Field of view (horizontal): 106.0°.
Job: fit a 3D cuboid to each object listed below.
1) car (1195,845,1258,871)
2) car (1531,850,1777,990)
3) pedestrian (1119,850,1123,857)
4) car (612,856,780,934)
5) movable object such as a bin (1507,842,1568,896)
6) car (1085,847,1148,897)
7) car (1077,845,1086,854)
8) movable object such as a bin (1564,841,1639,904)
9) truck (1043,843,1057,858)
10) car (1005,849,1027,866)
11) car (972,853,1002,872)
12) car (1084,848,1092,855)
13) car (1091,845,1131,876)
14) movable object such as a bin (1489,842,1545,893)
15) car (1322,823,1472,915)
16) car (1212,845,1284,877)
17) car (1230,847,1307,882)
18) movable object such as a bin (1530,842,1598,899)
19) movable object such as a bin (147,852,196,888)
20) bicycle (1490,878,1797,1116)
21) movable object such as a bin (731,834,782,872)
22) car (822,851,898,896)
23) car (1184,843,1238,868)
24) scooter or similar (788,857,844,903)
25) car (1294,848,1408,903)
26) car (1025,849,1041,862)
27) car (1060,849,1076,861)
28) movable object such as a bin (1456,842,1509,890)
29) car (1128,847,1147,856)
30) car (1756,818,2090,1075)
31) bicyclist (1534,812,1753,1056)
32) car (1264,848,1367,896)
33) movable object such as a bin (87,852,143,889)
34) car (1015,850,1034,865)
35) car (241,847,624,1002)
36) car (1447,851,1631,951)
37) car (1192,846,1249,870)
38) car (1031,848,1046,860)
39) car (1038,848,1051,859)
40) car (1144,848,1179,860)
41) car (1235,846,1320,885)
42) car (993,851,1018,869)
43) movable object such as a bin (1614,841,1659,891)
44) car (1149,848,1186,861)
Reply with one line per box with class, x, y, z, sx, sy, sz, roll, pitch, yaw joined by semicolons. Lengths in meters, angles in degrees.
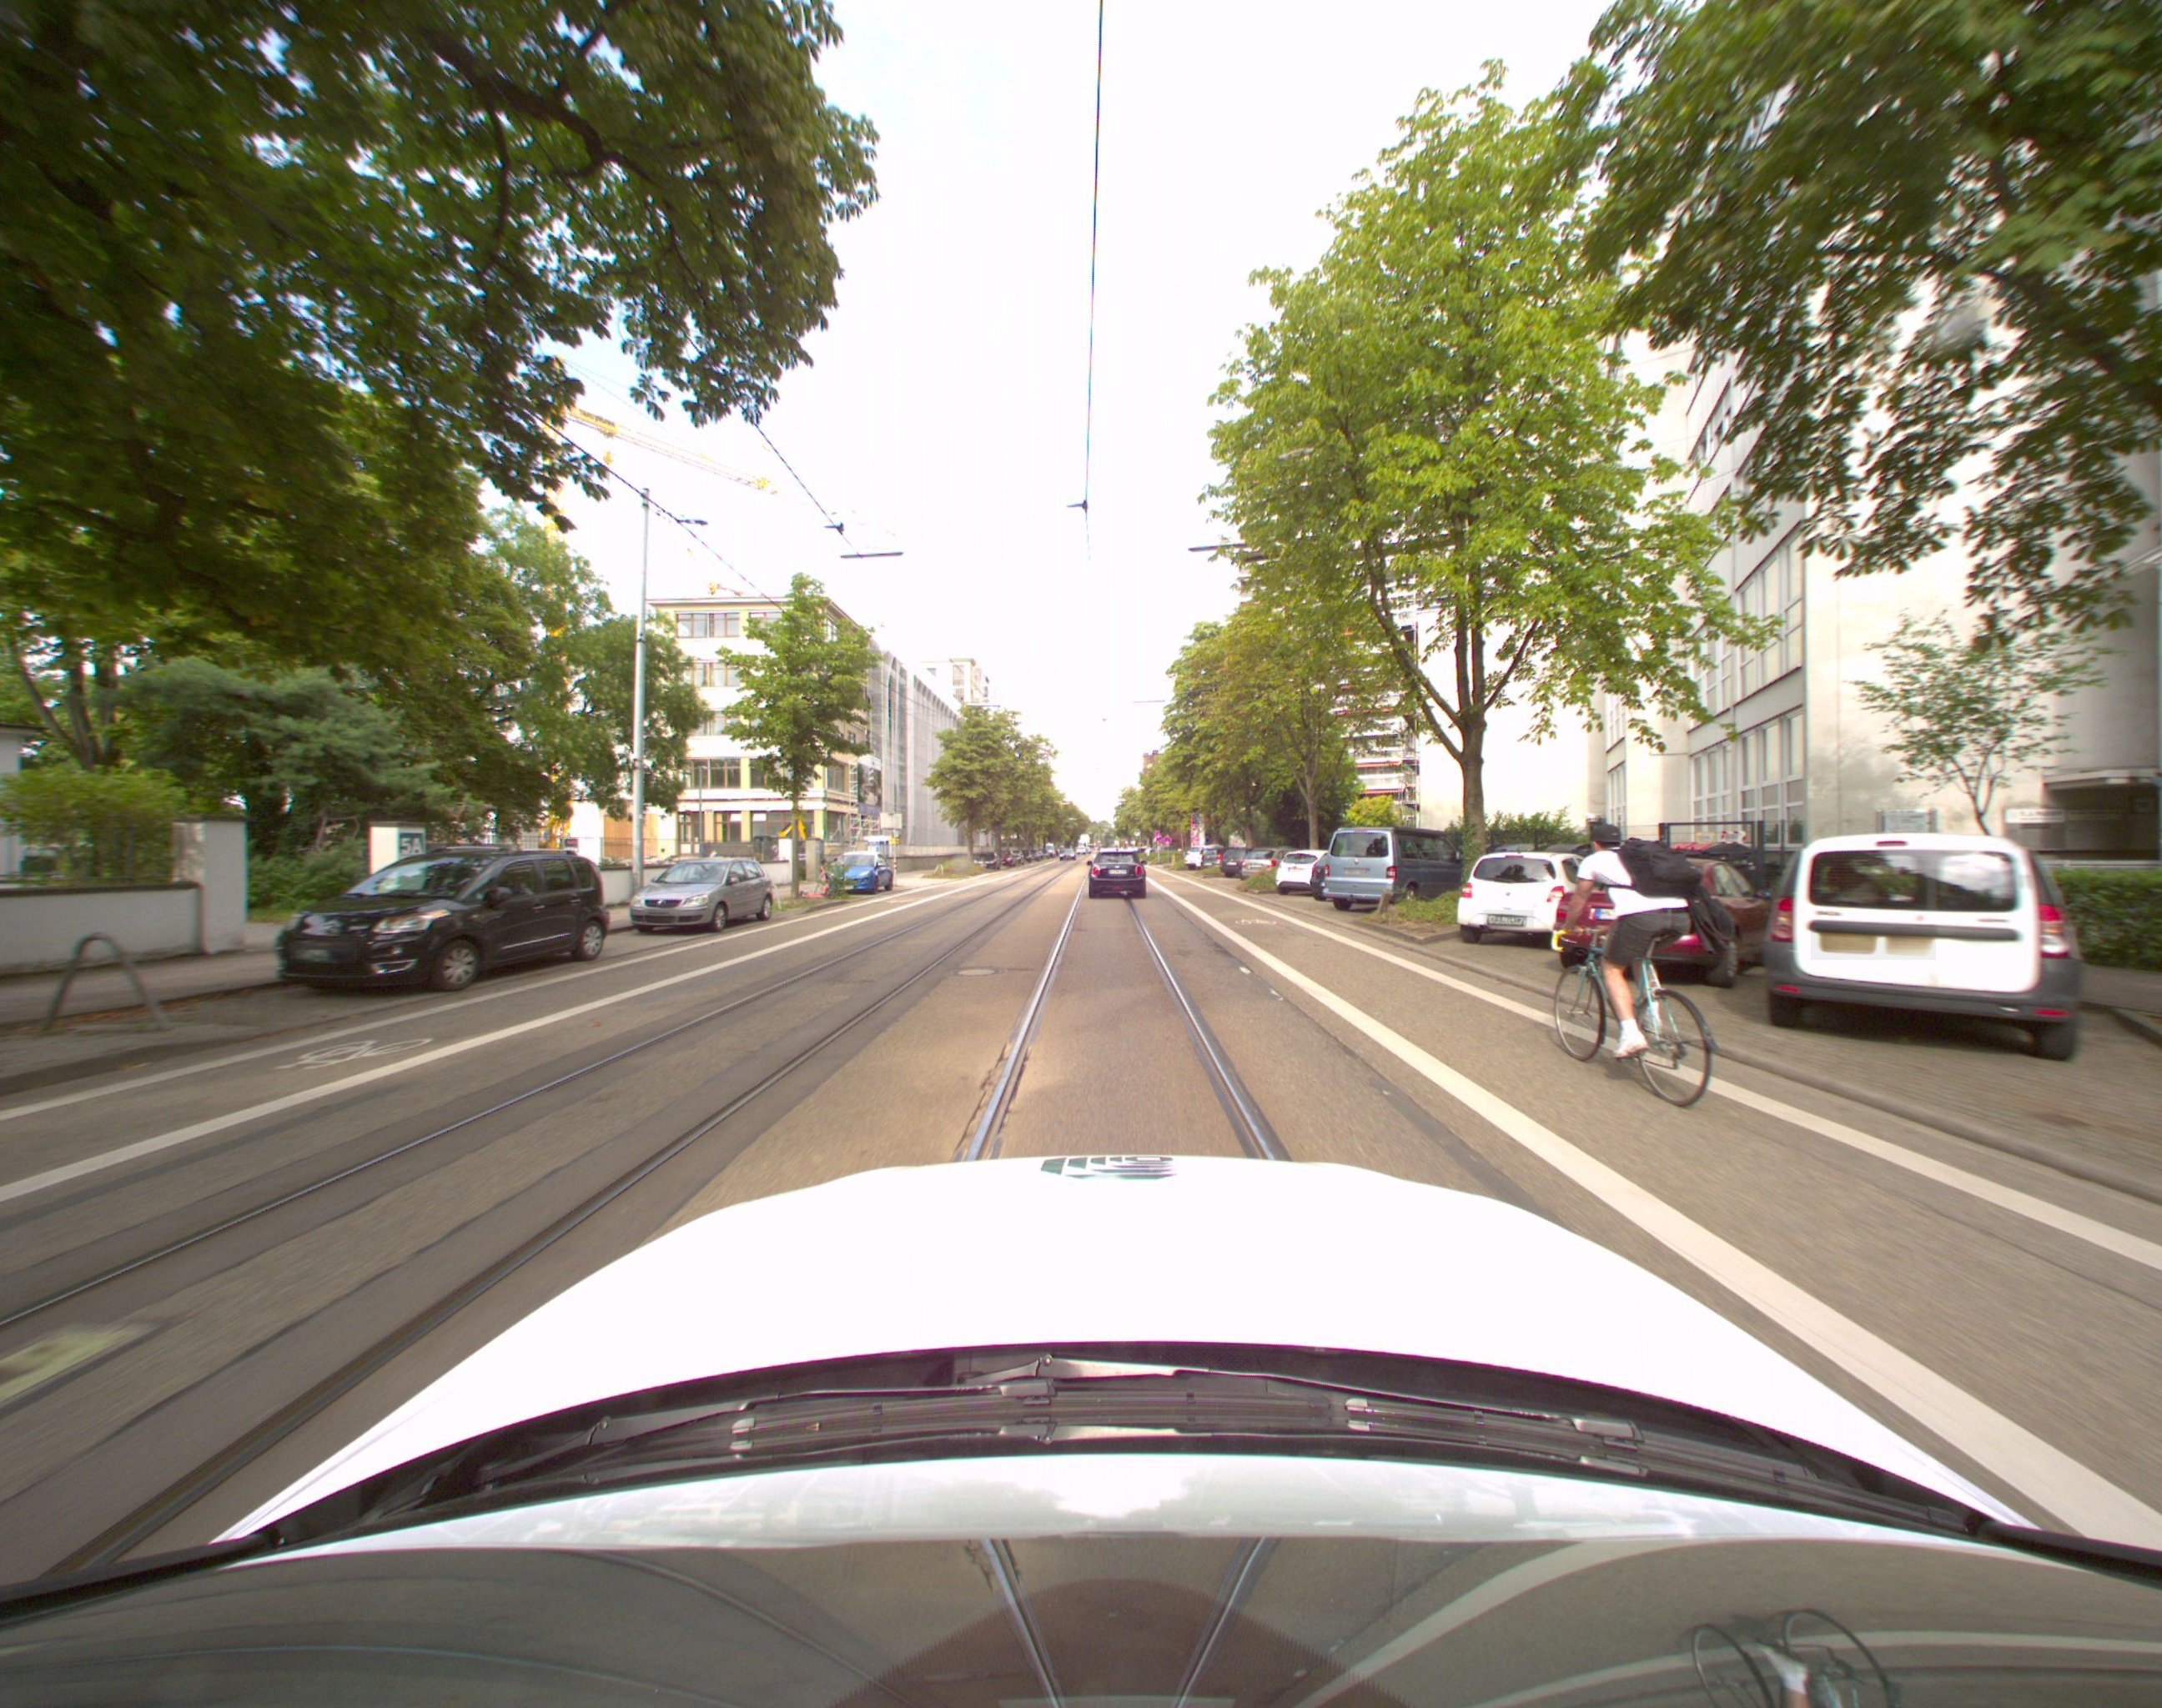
car;8.391;0.195;46.882;3.552;1.442;1.605;-1;0;-38
car;7.355;0.677;10.304;3.997;1.432;1.669;0;0;-42
pedestrian;9.647;-0.218;197.513;0.721;1.646;0.769;0;0;11
car;-7.991;0.788;17.329;1.687;1.427;3.868;0;0;0
movable object such as a bin;13.034;0.412;23.298;1.065;1.508;1.214;0;0;2
car;1.034;0.509;25.292;1.787;1.423;4.000;0;0;1
car;0.106;-1.038;174.966;1.796;1.823;4.485;-2;0;1
movable object such as a bin;12.992;0.441;20.369;1.065;1.508;1.324;0;0;2
truck;-5.228;-0.594;136.901;2.064;2.470;4.899;-2;0;1
car;-6.581;0.345;82.462;1.796;1.583;4.031;-2;0;1
car;-7.237;0.632;63.200;1.796;1.374;4.031;-2;0;1
car;1.703;-0.662;194.228;1.796;1.622;4.485;-2;0;1
car;1.506;0.315;42.031;1.789;1.470;3.997;1;0;-2
movable object such as a bin;13.235;0.399;24.743;1.065;1.508;1.214;0;0;2
car;7.814;0.321;19.959;4.300;2.015;1.809;0;0;-44
car;8.225;0.326;40.014;3.761;1.458;1.620;0;0;-44
car;8.612;0.434;37.249;3.761;1.522;1.620;0;0;-44
movable object such as a bin;13.032;0.425;22.008;1.065;1.508;1.324;0;0;2
movable object such as a bin;-36.159;0.623;32.377;0.850;1.374;1.100;1;0;27
bicycle;3.693;0.834;5.633;0.655;1.249;2.124;0;0;0
movable object such as a bin;-18.463;-0.066;46.401;1.978;2.067;1.962;0;0;3
car;-7.874;0.643;29.347;1.687;1.487;3.677;0;0;0
car;8.437;0.075;52.801;3.464;1.573;1.542;-1;0;-38
scooter or similar;-8.128;0.790;25.015;1.438;1.344;0.700;-2;0;2
car;7.904;0.567;23.656;1.656;1.460;3.851;0;0;44
car;-6.072;0.134;103.201;1.796;1.583;4.031;-2;0;1
car;-1.592;0.121;99.385;1.828;1.448;4.554;0;0;0
movable object such as a bin;13.074;0.381;26.562;1.065;1.508;1.335;0;0;2
car;12.111;-0.594;175.855;3.976;1.910;1.999;0;0;-2
car;7.419;0.597;7.325;4.132;1.668;1.668;0;0;-45
bicyclist;3.708;0.474;5.479;0.655;1.463;1.178;0;0;0
car;7.687;0.538;26.503;1.620;1.460;3.851;0;0;44
movable object such as a bin;-36.939;0.630;31.142;0.850;1.374;1.211;1;0;27
car;-6.426;0.349;92.951;1.796;1.583;4.031;-2;0;1
car;-8.062;0.742;10.720;1.750;1.647;4.052;0;0;0
car;7.679;0.664;13.516;3.738;1.432;1.669;0;0;-44
car;8.565;0.223;49.901;3.464;1.442;1.542;-1;0;-38
car;-5.900;0.054;112.368;1.796;1.583;4.031;-2;0;1
car;-5.536;-0.051;123.798;1.796;1.583;4.031;-2;0;1
car;9.712;0.021;98.631;3.977;1.425;1.883;0;0;-2
car;8.053;0.442;33.193;3.761;1.522;1.620;0;0;-44
car;-6.831;0.505;73.591;1.796;1.583;4.031;-2;0;1
movable object such as a bin;17.952;0.373;26.346;1.022;1.562;1.085;0;0;25
car;9.711;0.086;91.736;3.977;1.425;1.883;0;0;-2
